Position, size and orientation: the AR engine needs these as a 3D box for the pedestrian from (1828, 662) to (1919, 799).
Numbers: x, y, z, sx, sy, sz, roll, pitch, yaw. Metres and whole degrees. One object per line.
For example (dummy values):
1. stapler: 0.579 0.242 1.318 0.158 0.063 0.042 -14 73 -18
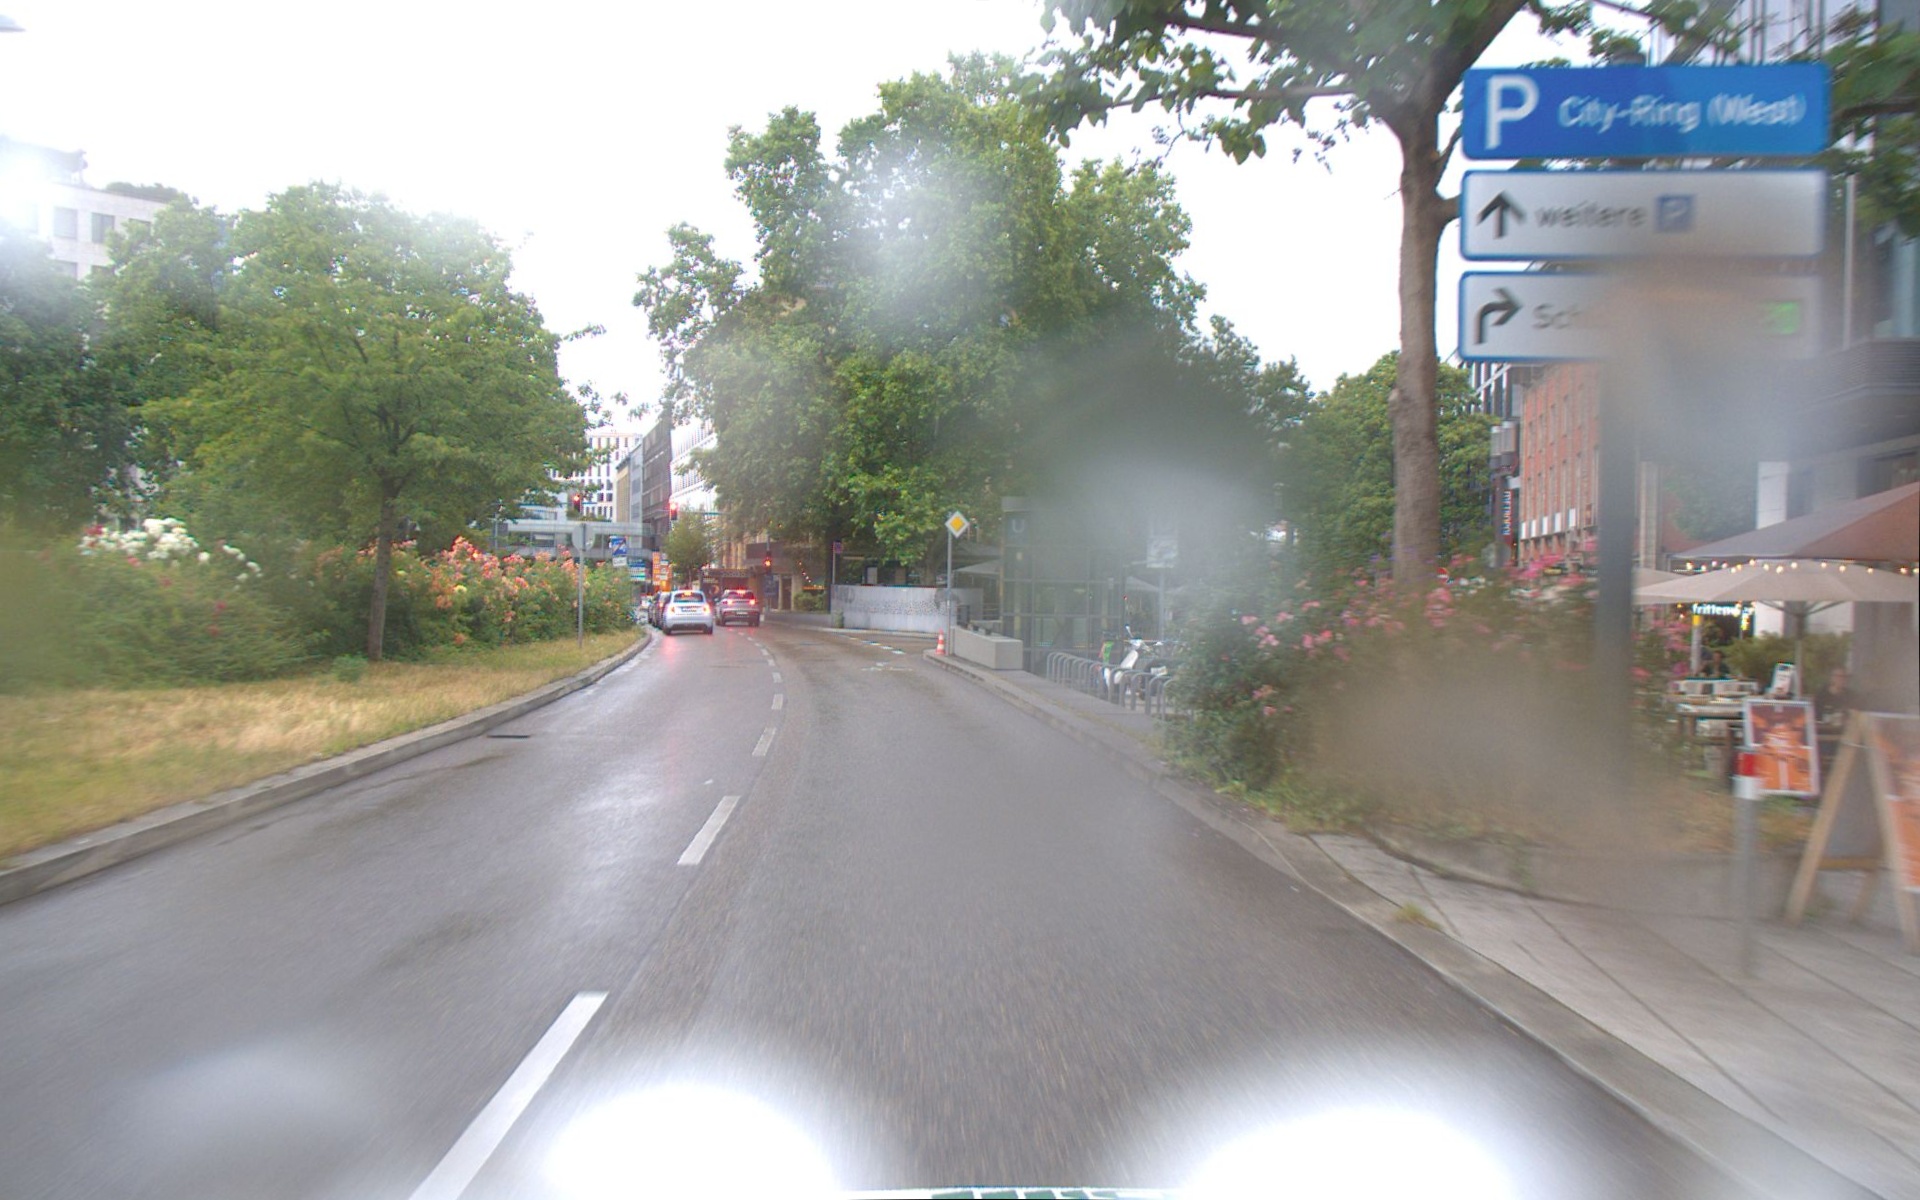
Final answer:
1. pedestrian: 9.705 1.365 17.373 0.800 1.349 0.636 3 0 7

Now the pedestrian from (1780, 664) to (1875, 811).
1. pedestrian: 8.401 1.319 16.040 0.593 1.349 0.568 3 0 7

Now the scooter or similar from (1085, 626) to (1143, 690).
1. scooter or similar: 3.135 1.170 33.719 1.092 1.258 0.364 2 0 -8

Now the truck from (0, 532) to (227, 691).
1. truck: -16.965 0.165 30.179 3.298 2.554 8.476 1 0 0

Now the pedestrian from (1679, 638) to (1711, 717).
1. pedestrian: 13.578 1.430 30.570 0.425 1.428 0.478 0 -1 9

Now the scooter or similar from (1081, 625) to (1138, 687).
1. scooter or similar: 3.081 1.161 34.128 1.092 1.237 0.364 2 0 -8

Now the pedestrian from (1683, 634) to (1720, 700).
1. pedestrian: 21.253 1.916 47.437 0.596 1.840 0.807 2 0 -5

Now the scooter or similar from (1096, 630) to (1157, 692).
1. scooter or similar: 3.290 1.208 32.753 1.092 1.178 0.531 2 0 -8

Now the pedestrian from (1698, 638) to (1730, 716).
1. pedestrian: 14.081 1.438 30.880 0.425 1.428 0.478 0 -1 9

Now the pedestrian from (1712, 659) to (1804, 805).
1. pedestrian: 7.766 1.273 16.120 0.593 1.349 0.568 3 0 7

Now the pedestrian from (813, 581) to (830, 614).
1. pedestrian: -7.598 -0.117 90.740 0.843 1.811 0.716 1 -1 -10

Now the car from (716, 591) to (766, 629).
1. car: -10.205 0.453 76.819 1.913 1.695 4.332 2 -1 -12

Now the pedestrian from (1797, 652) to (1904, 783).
1. pedestrian: 9.846 1.287 18.308 0.800 1.349 0.636 3 0 7

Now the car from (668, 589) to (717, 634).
1. car: -9.579 0.386 59.075 1.562 1.517 3.494 -1 0 -12

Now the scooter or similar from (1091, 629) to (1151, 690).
1. scooter or similar: 3.231 1.202 33.265 1.092 1.178 0.443 2 0 -8

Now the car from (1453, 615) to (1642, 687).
1. car: 16.186 1.377 45.806 4.634 1.720 2.006 2 1 11

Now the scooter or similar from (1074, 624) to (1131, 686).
1. scooter or similar: 2.978 1.150 34.547 1.092 1.256 0.364 2 0 -8

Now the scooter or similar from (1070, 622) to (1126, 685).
1. scooter or similar: 2.905 1.133 34.954 1.092 1.291 0.364 2 0 -8

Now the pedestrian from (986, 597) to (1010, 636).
1. pedestrian: 1.434 0.630 62.395 0.672 1.434 0.903 3 -1 -8

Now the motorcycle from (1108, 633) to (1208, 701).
1. motorcycle: 3.688 1.245 30.862 1.743 1.178 0.606 2 0 -8
